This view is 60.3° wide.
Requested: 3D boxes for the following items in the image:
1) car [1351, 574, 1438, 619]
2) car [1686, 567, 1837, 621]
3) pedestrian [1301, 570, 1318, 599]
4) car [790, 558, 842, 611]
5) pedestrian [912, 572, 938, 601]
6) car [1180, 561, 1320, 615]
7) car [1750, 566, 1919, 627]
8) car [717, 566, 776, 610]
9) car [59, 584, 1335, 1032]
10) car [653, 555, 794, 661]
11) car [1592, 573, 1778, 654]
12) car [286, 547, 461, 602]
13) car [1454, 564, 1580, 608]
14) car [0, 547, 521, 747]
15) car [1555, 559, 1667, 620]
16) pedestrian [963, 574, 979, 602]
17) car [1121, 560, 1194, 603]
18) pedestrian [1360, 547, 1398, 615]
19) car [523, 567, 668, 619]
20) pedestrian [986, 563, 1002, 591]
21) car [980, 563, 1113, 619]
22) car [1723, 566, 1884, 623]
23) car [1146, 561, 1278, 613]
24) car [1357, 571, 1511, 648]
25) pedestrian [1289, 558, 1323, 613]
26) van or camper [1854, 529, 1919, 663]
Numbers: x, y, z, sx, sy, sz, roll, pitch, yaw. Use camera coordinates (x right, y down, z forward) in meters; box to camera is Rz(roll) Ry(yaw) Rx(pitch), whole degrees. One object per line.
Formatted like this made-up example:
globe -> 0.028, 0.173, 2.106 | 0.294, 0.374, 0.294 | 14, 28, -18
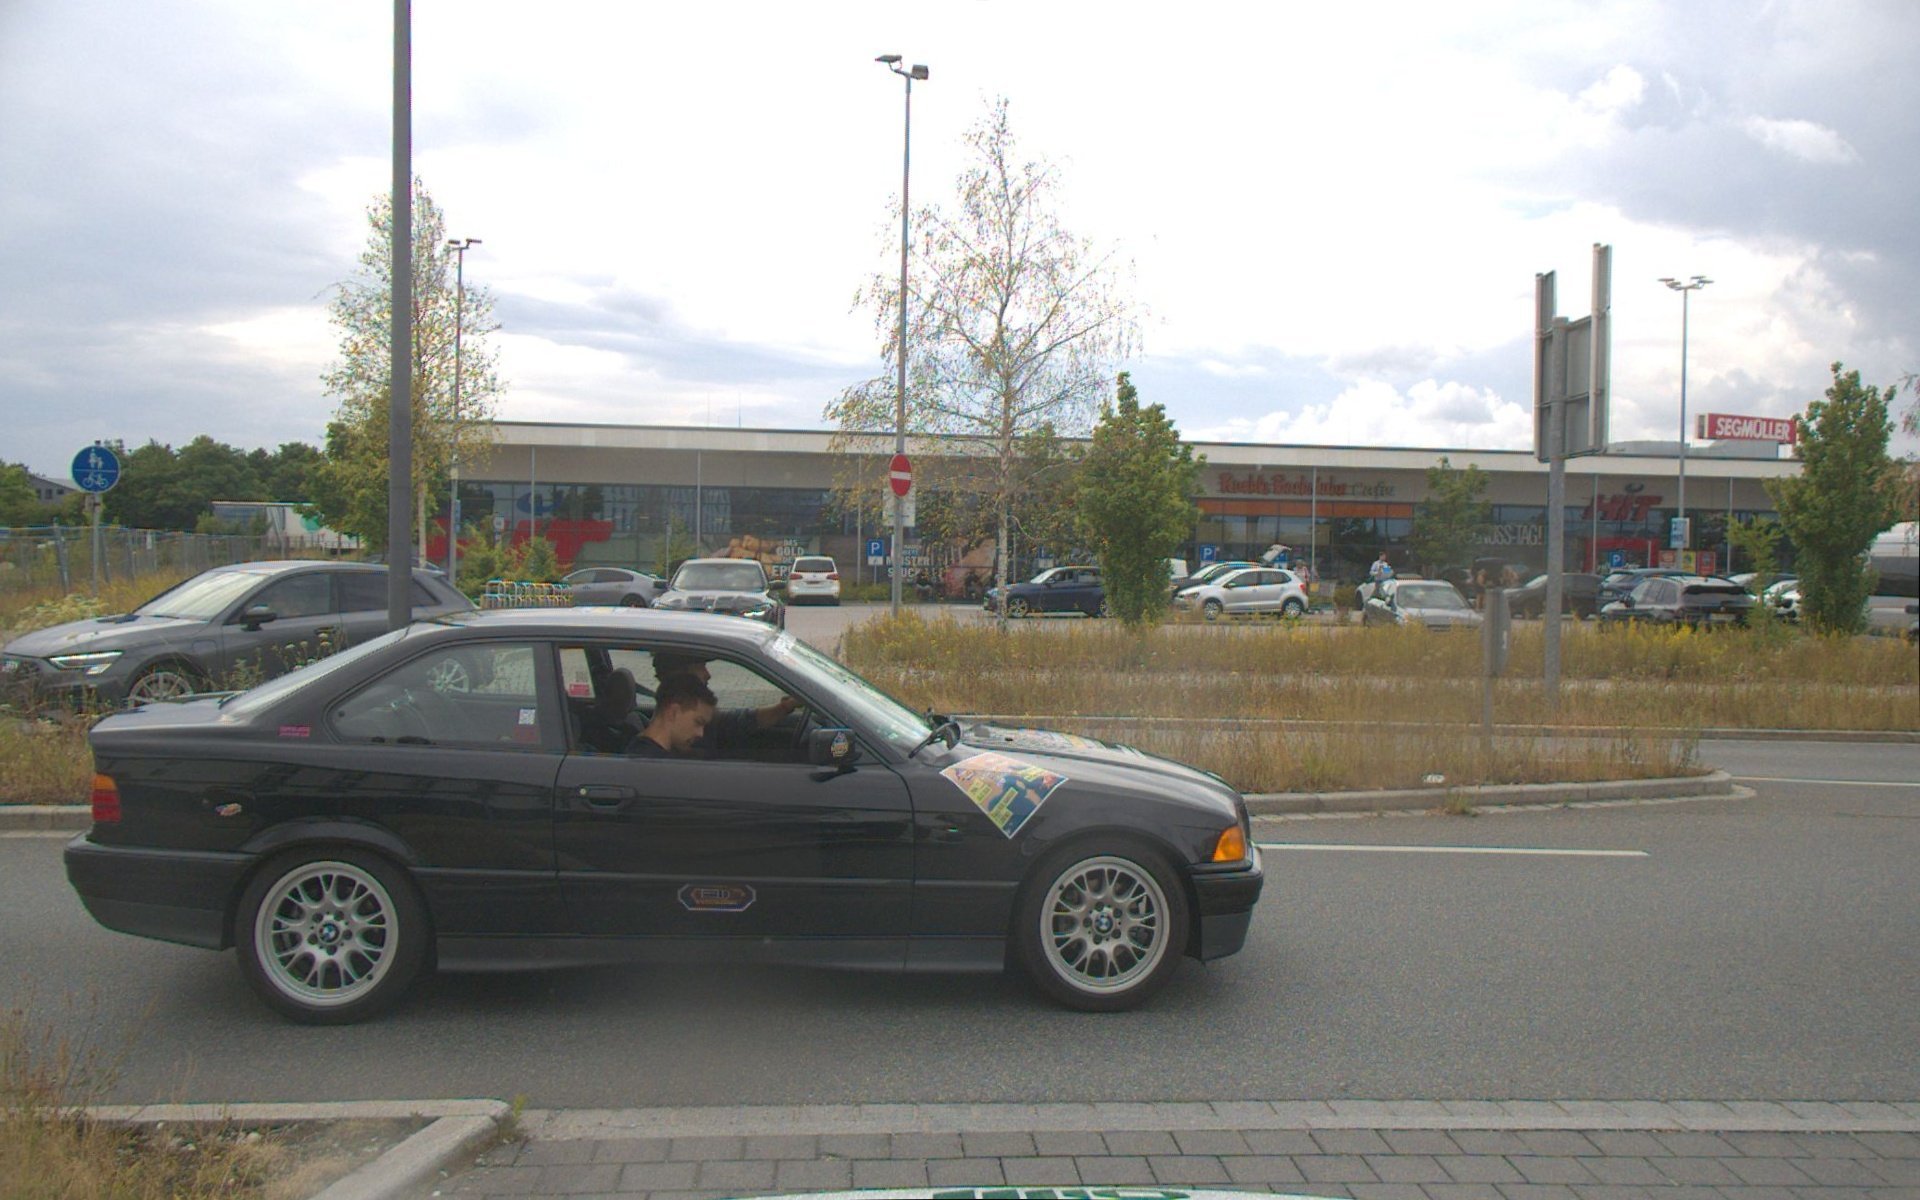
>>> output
car -> 16.340, -0.161, 62.364 | 1.954, 1.534, 3.997 | 1, 2, -5
car -> 25.904, -0.209, 53.571 | 3.904, 1.646, 2.001 | 1, 1, 2
pedestrian -> 14.680, -0.658, 69.389 | 0.549, 1.222, 0.527 | 1, 1, -7
car -> -5.143, -0.601, 59.451 | 1.788, 1.729, 4.231 | 1, 2, -4
pedestrian -> -1.476, -0.575, 69.251 | 0.952, 1.174, 1.131 | 1, 1, -8
car -> 8.405, -0.357, 48.085 | 3.675, 1.479, 1.665 | 1, 1, -7
car -> 25.262, -0.125, 47.816 | 3.904, 1.646, 2.001 | 1, 1, 2
car -> -7.596, -0.443, 59.159 | 1.869, 1.469, 3.997 | 1, 1, -4
car -> -0.878, 0.685, 6.400 | 4.204, 1.410, 1.757 | 1, 1, -6
car -> -3.546, 0.071, 25.520 | 1.744, 1.471, 4.607 | 1, 1, -3
car -> 14.412, 0.226, 33.161 | 1.947, 1.476, 4.151 | 1, 1, 1
car -> -18.411, -0.797, 52.143 | 4.918, 1.585, 1.995 | 1, 1, -11
car -> 20.429, -0.523, 60.760 | 3.910, 1.534, 1.998 | 1, 2, -6
car -> -6.228, 0.313, 14.794 | 1.762, 1.492, 4.303 | 2, 2, 36
car -> 19.073, -0.339, 48.629 | 1.776, 1.682, 4.002 | 1, 1, 2
pedestrian -> 0.459, -0.498, 68.983 | 0.565, 1.143, 0.560 | 1, 1, -10
car -> 7.291, -0.719, 61.372 | 1.954, 1.534, 3.997 | 1, 1, -5
pedestrian -> 12.736, -0.584, 50.263 | 0.847, 2.048, 1.003 | 1, 1, -2
car -> -10.435, -0.215, 47.611 | 3.914, 1.375, 1.996 | 1, 1, -10
pedestrian -> 1.390, -0.937, 68.128 | 0.565, 1.143, 0.560 | 1, 1, -10
car -> 2.445, -0.267, 47.090 | 3.539, 1.479, 1.665 | 1, 1, -8
car -> 25.836, -0.188, 50.736 | 3.904, 1.646, 2.001 | 1, 1, 2
car -> 7.728, -0.408, 50.853 | 3.675, 1.479, 1.665 | 1, 1, -7
car -> 9.425, 0.143, 33.237 | 1.947, 1.408, 4.151 | 1, 1, 1
pedestrian -> 10.705, -0.462, 51.148 | 0.805, 1.660, 0.899 | 1, 1, -2
van or camper -> 19.344, -0.068, 31.964 | 2.234, 2.535, 4.003 | 1, 1, 6
